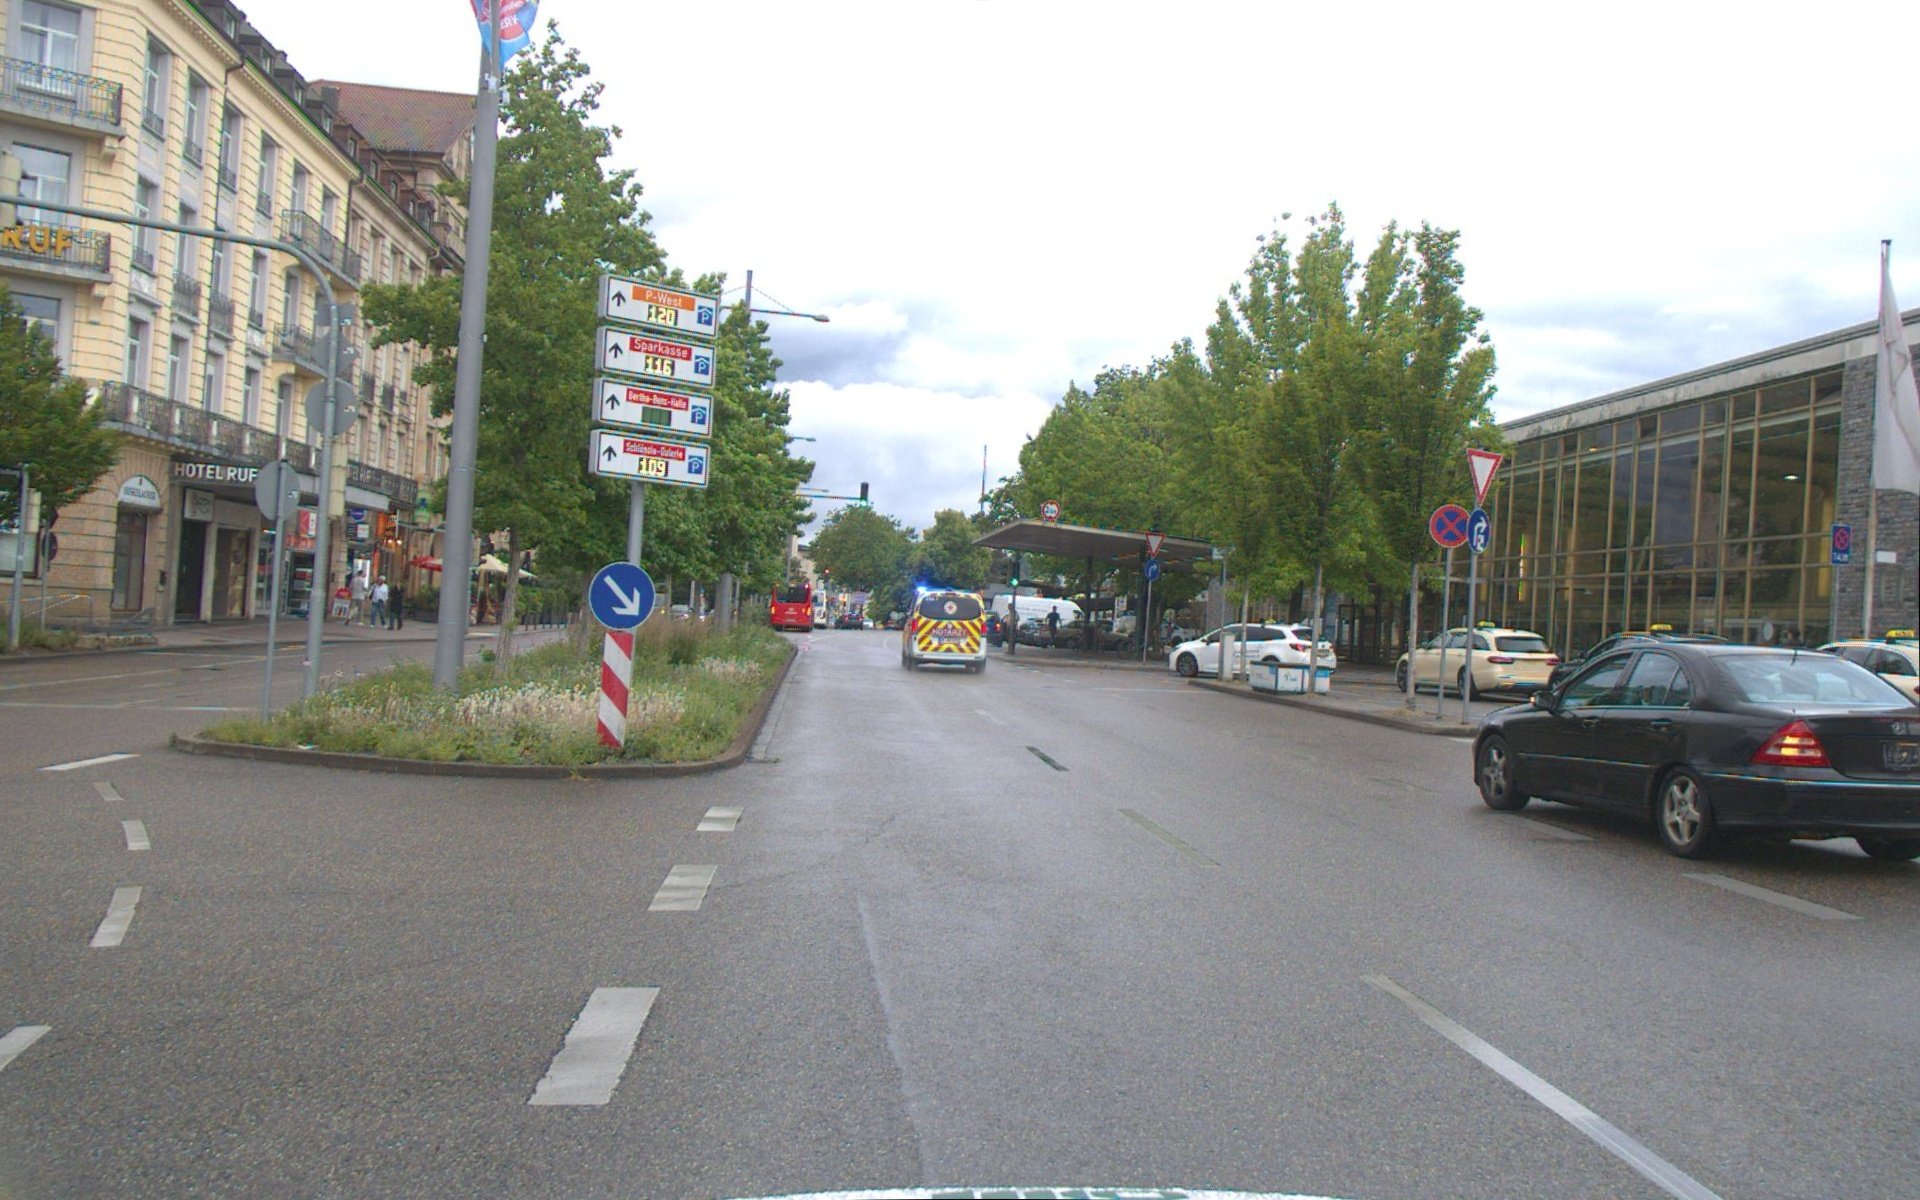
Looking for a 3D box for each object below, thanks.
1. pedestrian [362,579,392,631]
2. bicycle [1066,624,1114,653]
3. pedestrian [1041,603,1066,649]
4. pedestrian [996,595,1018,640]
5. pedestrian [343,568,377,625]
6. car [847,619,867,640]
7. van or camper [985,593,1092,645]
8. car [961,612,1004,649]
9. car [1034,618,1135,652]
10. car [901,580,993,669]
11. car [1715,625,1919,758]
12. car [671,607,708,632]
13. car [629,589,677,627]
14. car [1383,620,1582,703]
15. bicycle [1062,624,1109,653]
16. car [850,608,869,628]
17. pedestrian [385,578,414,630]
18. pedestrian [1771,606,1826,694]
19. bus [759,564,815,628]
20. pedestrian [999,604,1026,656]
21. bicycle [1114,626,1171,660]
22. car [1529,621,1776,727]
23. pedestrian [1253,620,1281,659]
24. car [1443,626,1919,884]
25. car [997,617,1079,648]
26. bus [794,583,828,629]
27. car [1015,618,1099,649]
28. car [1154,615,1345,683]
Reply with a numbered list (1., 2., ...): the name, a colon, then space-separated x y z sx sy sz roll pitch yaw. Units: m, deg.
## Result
1. pedestrian: -18.942 0.169 53.713 0.668 1.693 0.807 1 -1 -2
2. bicycle: 4.918 1.471 62.450 1.802 1.074 0.417 1 -1 -23
3. pedestrian: 3.871 1.098 68.639 0.840 1.867 1.189 2 -2 -5
4. pedestrian: 2.158 0.798 76.188 0.816 2.049 0.887 1 -1 -9
5. pedestrian: -19.756 -0.105 54.462 0.862 1.844 0.750 1 -1 -5
6. car: -10.167 2.882 162.974 1.954 2.049 3.996 1 -1 -4
7. van or camper: 4.457 1.088 93.750 5.888 2.811 2.175 1 -1 -32
8. car: 1.018 1.429 76.068 1.821 1.596 3.999 2 -1 -1
9. car: 5.518 1.559 73.314 4.131 1.348 1.826 3 -2 -25
10. car: -0.387 0.606 40.920 1.954 2.049 5.057 1 -1 -4
11. car: 12.949 1.206 23.452 1.954 1.627 4.954 1 0 -4
12. car: -17.764 1.261 108.871 1.954 1.570 4.628 1 -1 -4
13. car: -17.105 0.475 92.438 1.954 2.049 4.998 1 -1 -3
14. car: 11.263 1.287 36.068 1.958 1.627 4.943 1 0 -12
15. bicycle: 4.775 1.475 62.887 1.802 1.074 0.417 1 -1 -23
16. car: -10.831 1.944 178.481 1.954 2.049 3.996 1 -1 -4
17. pedestrian: -18.232 0.139 53.820 0.668 1.693 0.806 1 -1 -4
18. pedestrian: 16.057 0.948 31.671 0.783 1.655 0.718 0 -1 41
19. bus: -11.683 -0.169 110.992 3.477 4.049 11.153 1 -1 -7
20. pedestrian: 1.829 1.031 57.524 0.733 1.777 0.833 2 -2 -13
21. bicycle: 5.951 1.389 53.973 1.792 1.074 0.420 1 -1 -5
22. car: 12.296 1.249 29.778 1.955 1.627 4.952 3 0 -6
23. pedestrian: 12.614 1.637 67.977 0.849 1.586 0.812 1 -1 -12
24. car: 5.294 0.951 12.003 1.664 1.491 4.441 1 -1 -10
25. car: 4.133 1.735 87.646 3.946 1.468 1.845 3 -2 -31
26. bus: -12.968 0.564 143.496 2.751 3.812 10.431 0 -1 -6
27. car: 5.018 1.719 85.515 3.946 1.468 1.845 3 -2 -31
28. car: 7.357 1.226 42.364 1.750 1.573 4.700 3 -2 -43
